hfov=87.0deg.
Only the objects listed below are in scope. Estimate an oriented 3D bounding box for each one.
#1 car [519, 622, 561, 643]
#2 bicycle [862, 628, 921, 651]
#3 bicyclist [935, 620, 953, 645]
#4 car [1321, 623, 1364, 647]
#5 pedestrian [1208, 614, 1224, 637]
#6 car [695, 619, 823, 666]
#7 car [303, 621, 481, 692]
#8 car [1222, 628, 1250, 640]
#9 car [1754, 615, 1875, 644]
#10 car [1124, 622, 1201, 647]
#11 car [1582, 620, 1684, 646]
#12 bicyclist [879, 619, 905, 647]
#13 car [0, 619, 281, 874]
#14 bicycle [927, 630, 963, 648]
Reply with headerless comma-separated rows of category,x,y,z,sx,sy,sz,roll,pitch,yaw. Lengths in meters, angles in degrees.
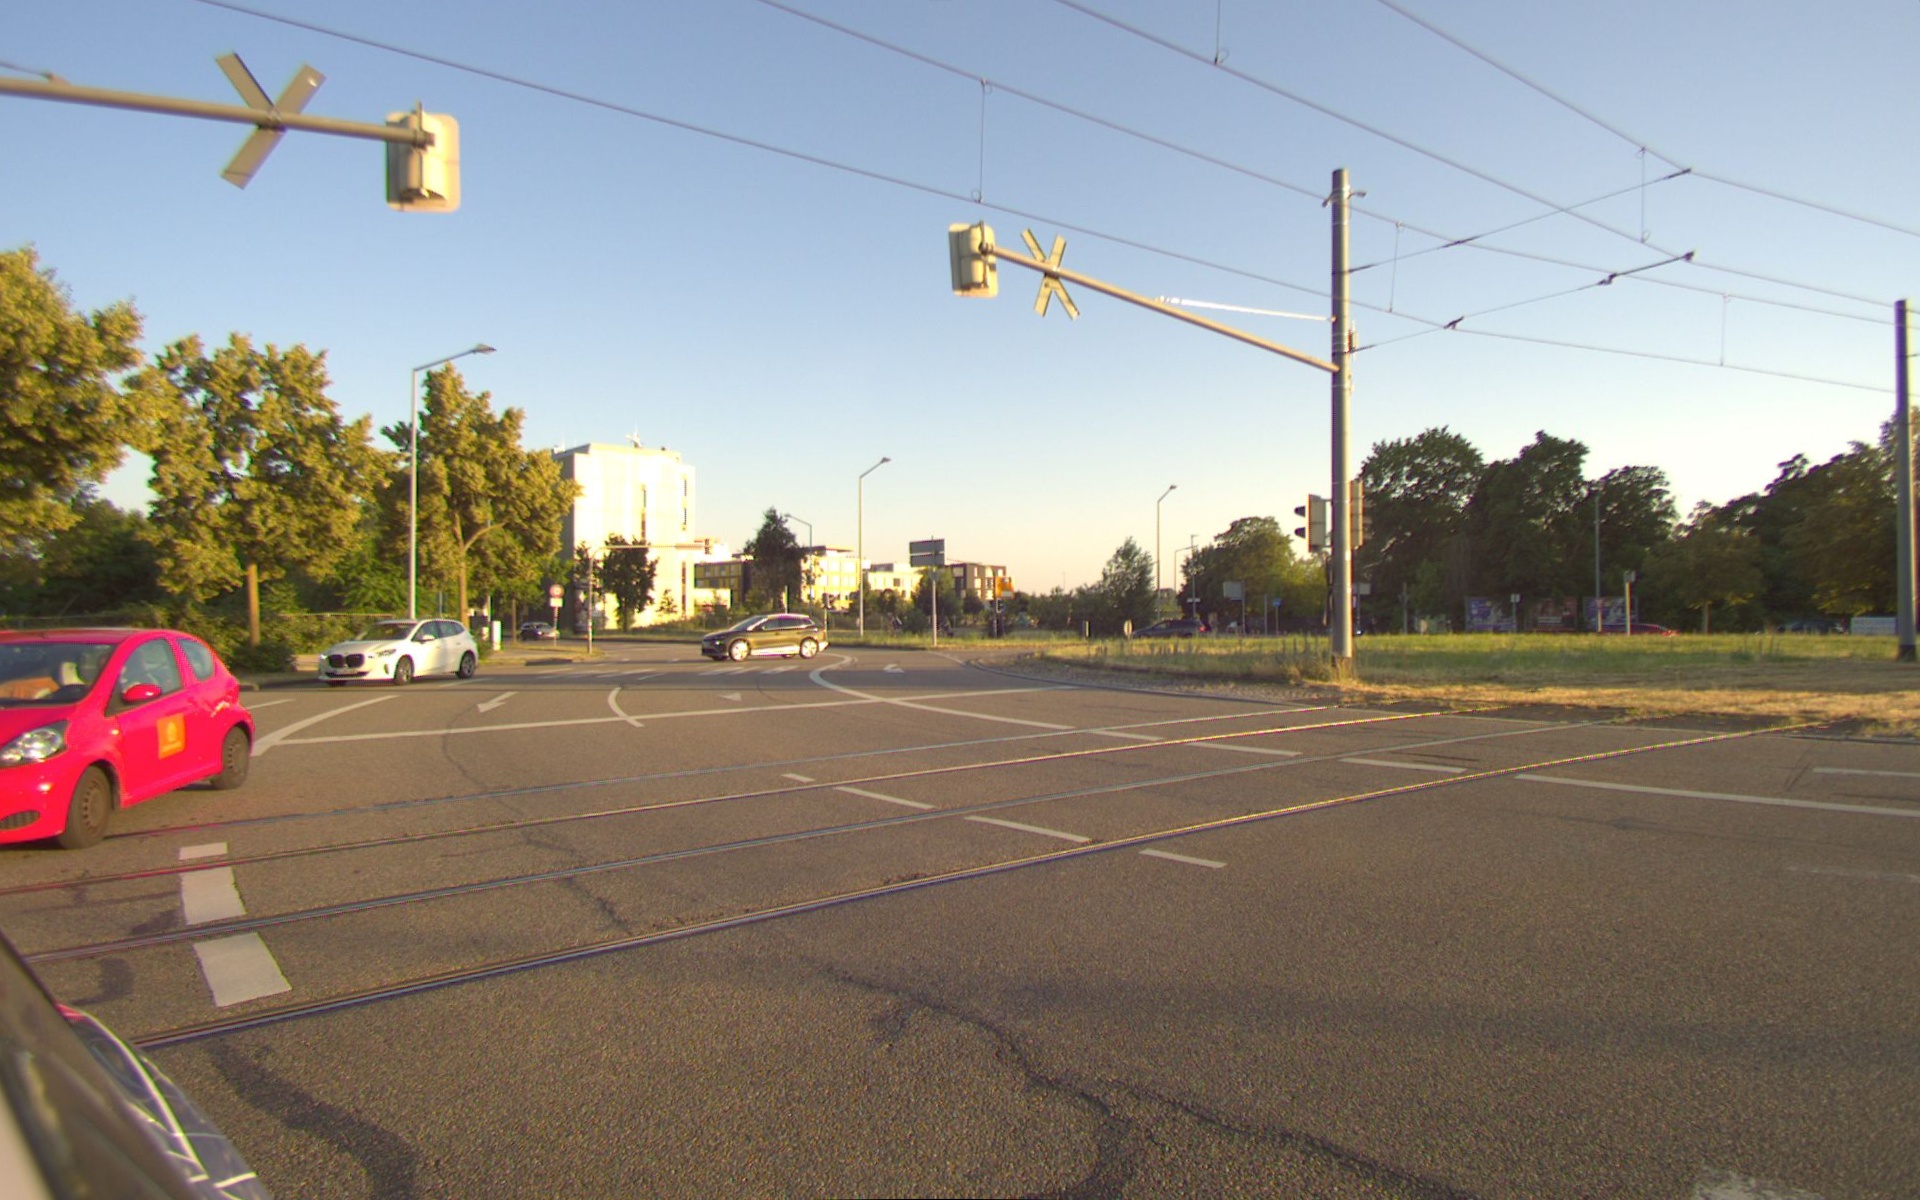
car,-34.068,2.640,82.086,1.844,1.637,4.198,1,-1,-42
bicycle,-4.324,2.498,63.877,3.478,1.406,1.127,0,-1,-20
bicyclist,-1.091,2.220,69.287,0.983,1.645,0.813,0,-1,-27
car,25.300,2.321,67.084,1.821,1.512,4.242,0,-1,9
pedestrian,19.893,1.980,78.628,0.875,1.714,0.723,1,-2,-32
car,-7.157,1.493,36.186,4.145,1.570,1.832,1,-2,-36
car,-13.681,1.318,24.690,1.738,1.570,4.208,-1,-2,5
car,33.267,4.115,122.246,1.916,1.443,4.406,0,-2,-4
car,43.941,1.511,52.161,1.911,1.443,4.333,1,-2,-30
car,11.937,2.045,59.555,4.359,1.443,1.936,-1,-2,14
car,39.767,1.956,59.930,1.912,1.443,4.608,1,-2,-32
bicyclist,-4.286,2.068,63.905,1.392,1.762,1.127,0,-1,-20
car,-6.788,0.918,7.512,1.666,1.432,4.223,-1,-2,-16
bicycle,-1.030,2.652,69.315,2.289,1.188,0.813,0,-1,-28
